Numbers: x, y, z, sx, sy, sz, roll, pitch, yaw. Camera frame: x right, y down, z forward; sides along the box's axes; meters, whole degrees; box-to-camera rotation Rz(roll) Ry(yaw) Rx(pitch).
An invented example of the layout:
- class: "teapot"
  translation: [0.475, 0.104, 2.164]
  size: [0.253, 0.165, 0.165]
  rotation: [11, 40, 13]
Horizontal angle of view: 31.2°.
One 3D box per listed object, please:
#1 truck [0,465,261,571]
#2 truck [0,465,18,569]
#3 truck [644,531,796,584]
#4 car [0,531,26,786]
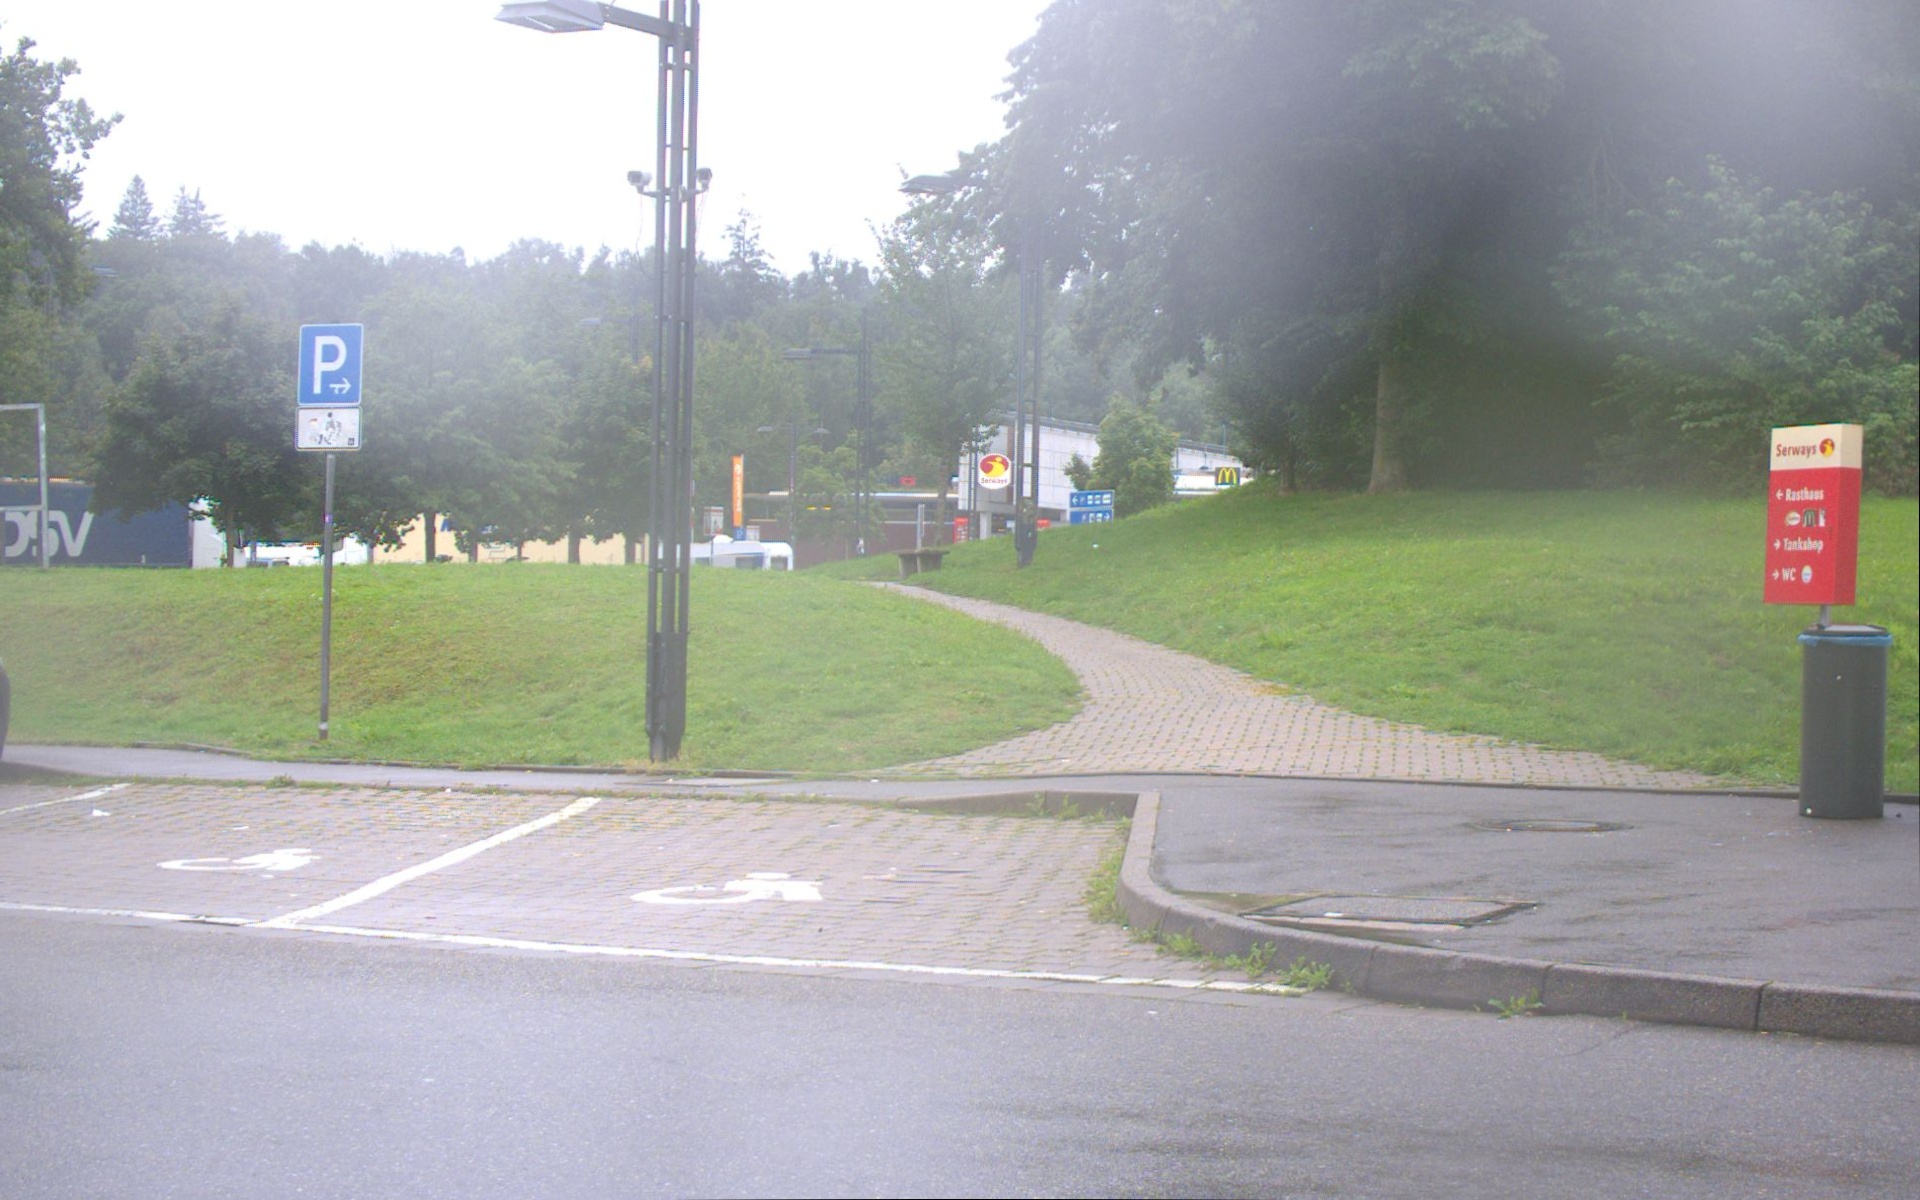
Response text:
- class: "truck"
  translation: [-25.469, -2.360, 101.625]
  size: [2.188, 2.910, 13.082]
  rotation: [1, 1, 24]
- class: "truck"
  translation: [-28.607, -2.335, 94.655]
  size: [2.189, 2.910, 5.380]
  rotation: [1, 1, 24]
- class: "truck"
  translation: [-9.333, -1.657, 133.803]
  size: [5.413, 2.007, 2.364]
  rotation: [1, 1, 25]
- class: "car"
  translation: [-7.801, 0.457, 21.488]
  size: [2.018, 1.705, 4.341]
  rotation: [-1, 1, 12]
